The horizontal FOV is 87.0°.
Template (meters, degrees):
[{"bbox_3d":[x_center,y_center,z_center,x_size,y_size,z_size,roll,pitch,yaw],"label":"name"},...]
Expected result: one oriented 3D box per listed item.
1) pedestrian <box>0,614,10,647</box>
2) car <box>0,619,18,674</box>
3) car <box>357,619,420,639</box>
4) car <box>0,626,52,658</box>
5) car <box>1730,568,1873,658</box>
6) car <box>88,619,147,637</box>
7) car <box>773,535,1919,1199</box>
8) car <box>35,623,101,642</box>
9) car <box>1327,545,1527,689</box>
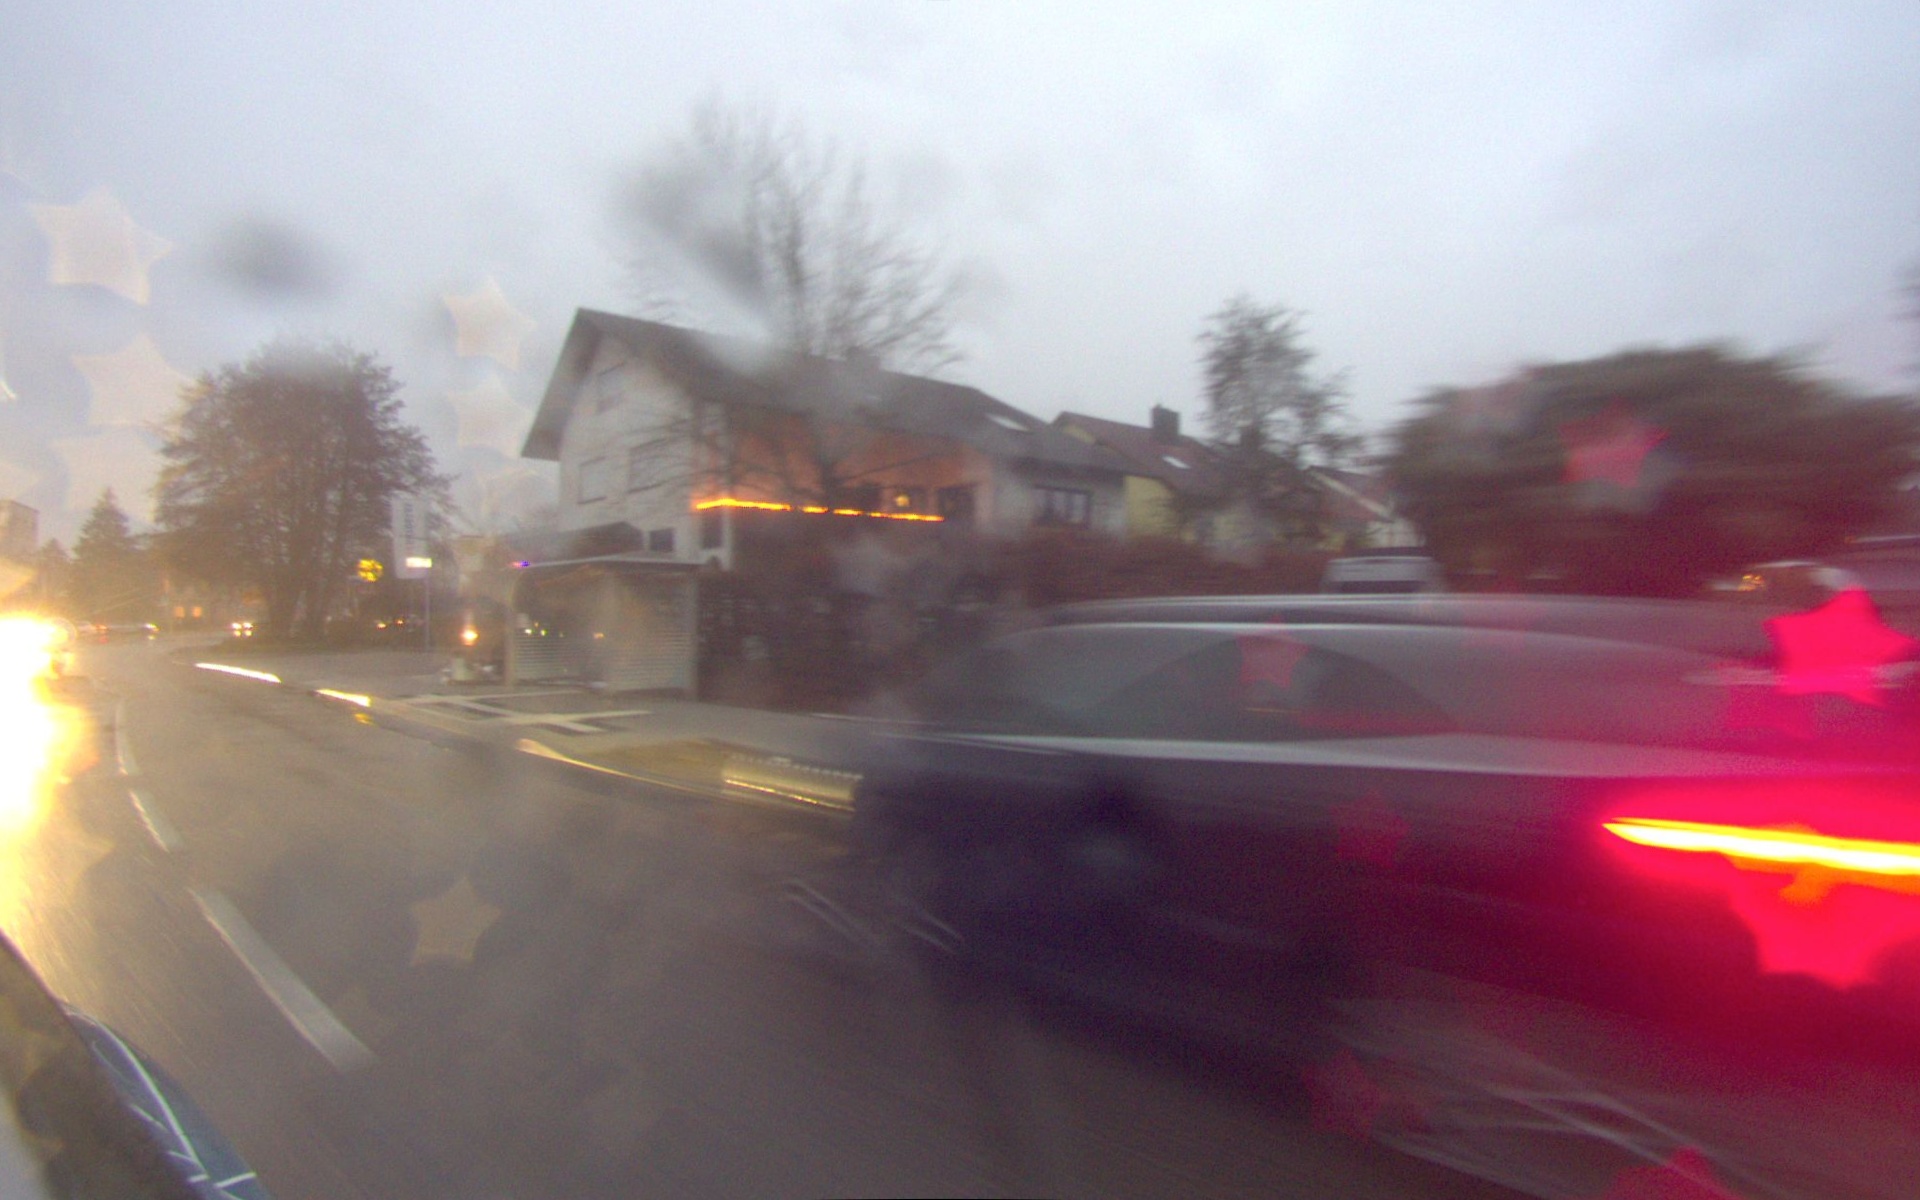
[{"bbox_3d":[-55.355,1.724,57.812,1.237,1.880,1.307,3,-2,-32],"label":"pedestrian"},{"bbox_3d":[-32.111,1.529,33.044,1.872,1.712,4.244,-3,1,-43],"label":"car"},{"bbox_3d":[-52.490,2.667,93.029,4.712,1.725,2.036,0,-2,-42],"label":"car"},{"bbox_3d":[-45.987,2.027,49.651,1.968,1.484,4.007,0,-1,-40],"label":"car"},{"bbox_3d":[24.126,0.333,28.943,5.272,2.359,2.321,-1,-1,-41],"label":"car"},{"bbox_3d":[-79.185,2.636,95.157,4.115,1.452,1.802,-2,-1,-36],"label":"car"},{"bbox_3d":[1.299,0.716,3.598,3.999,1.566,1.803,-1,-3,42],"label":"car"},{"bbox_3d":[-84.998,3.090,96.477,4.344,1.736,1.783,0,-1,-25],"label":"car"},{"bbox_3d":[9.683,0.304,20.735,2.001,2.580,5.277,-1,-1,45],"label":"car"}]
